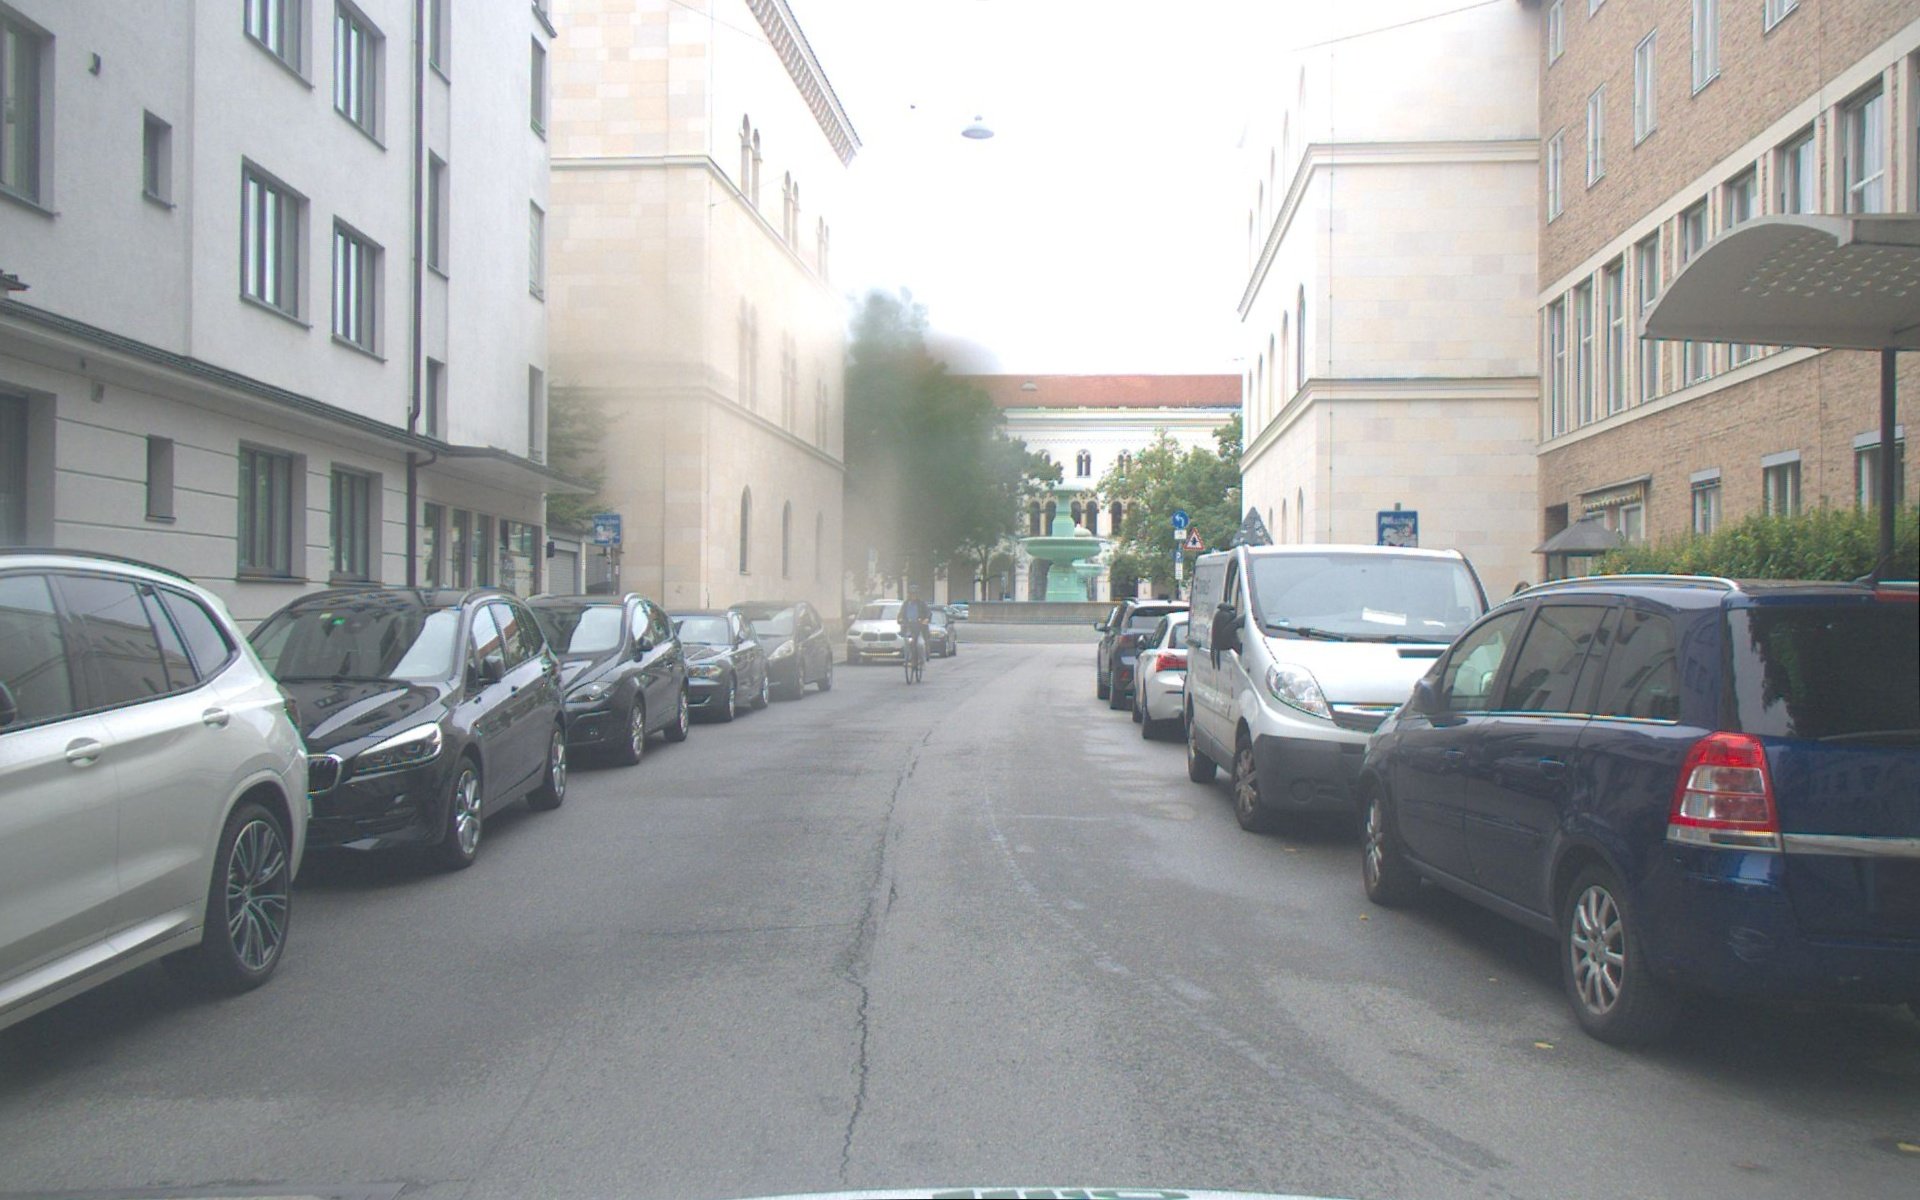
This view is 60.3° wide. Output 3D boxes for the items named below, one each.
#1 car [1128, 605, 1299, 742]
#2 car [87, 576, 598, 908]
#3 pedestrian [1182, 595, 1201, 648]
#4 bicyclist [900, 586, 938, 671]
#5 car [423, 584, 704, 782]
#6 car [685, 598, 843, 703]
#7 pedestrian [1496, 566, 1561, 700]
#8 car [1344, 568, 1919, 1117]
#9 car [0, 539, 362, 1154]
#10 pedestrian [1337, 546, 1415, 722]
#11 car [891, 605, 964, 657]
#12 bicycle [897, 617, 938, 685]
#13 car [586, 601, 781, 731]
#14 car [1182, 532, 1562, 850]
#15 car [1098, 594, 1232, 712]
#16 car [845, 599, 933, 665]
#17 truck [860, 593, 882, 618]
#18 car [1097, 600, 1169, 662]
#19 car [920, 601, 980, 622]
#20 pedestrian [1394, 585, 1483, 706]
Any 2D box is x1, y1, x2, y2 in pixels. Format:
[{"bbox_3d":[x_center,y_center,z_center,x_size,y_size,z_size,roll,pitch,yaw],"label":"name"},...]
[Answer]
[{"bbox_3d":[2.966,0.801,20.061,1.638,1.442,4.203,1,0,3],"label":"car"},{"bbox_3d":[-3.727,0.712,10.959,1.835,1.687,4.588,-1,1,-3],"label":"car"},{"bbox_3d":[7.990,0.745,57.181,0.628,1.840,0.489,0,0,10],"label":"pedestrian"},{"bbox_3d":[-0.771,0.534,31.139,0.643,1.578,0.888,0,-1,2],"label":"bicyclist"},{"bbox_3d":[-3.809,0.711,16.628,1.834,1.687,4.079,-1,1,-1],"label":"car"},{"bbox_3d":[-3.095,0.762,26.891,1.713,1.479,4.018,-1,1,5],"label":"car"},{"bbox_3d":[7.233,0.408,21.076,0.575,1.661,0.877,1,0,5],"label":"pedestrian"},{"bbox_3d":[3.065,0.713,7.042,1.771,1.628,4.214,0,0,-2],"label":"car"},{"bbox_3d":[-3.575,0.690,5.076,1.834,1.687,4.590,-1,1,-1],"label":"car"},{"bbox_3d":[5.404,0.429,21.515,0.777,2.236,0.813,1,0,-1],"label":"pedestrian"},{"bbox_3d":[-0.900,0.895,48.501,1.662,1.417,4.214,-1,-1,5],"label":"car"},{"bbox_3d":[-0.786,0.932,31.142,0.635,1.218,1.951,-1,0,2],"label":"bicycle"},{"bbox_3d":[-3.588,0.803,22.136,1.714,1.479,4.017,-1,1,3],"label":"car"},{"bbox_3d":[2.875,0.554,12.681,1.843,1.958,4.876,0,0,2],"label":"car"},{"bbox_3d":[3.038,0.749,25.183,1.710,1.621,3.957,1,0,3],"label":"car"},{"bbox_3d":[-1.757,0.793,42.155,1.741,1.562,4.213,-1,-1,4],"label":"car"},{"bbox_3d":[-8.998,0.540,166.644,1.955,2.532,3.995,1,0,-6],"label":"truck"},{"bbox_3d":[4.475,0.765,42.906,1.751,1.502,4.316,1,0,6],"label":"car"},{"bbox_3d":[-0.645,0.782,111.065,3.903,1.400,2.001,0,0,3],"label":"car"},{"bbox_3d":[6.335,0.590,21.912,0.934,1.574,0.671,0,0,-16],"label":"pedestrian"}]
